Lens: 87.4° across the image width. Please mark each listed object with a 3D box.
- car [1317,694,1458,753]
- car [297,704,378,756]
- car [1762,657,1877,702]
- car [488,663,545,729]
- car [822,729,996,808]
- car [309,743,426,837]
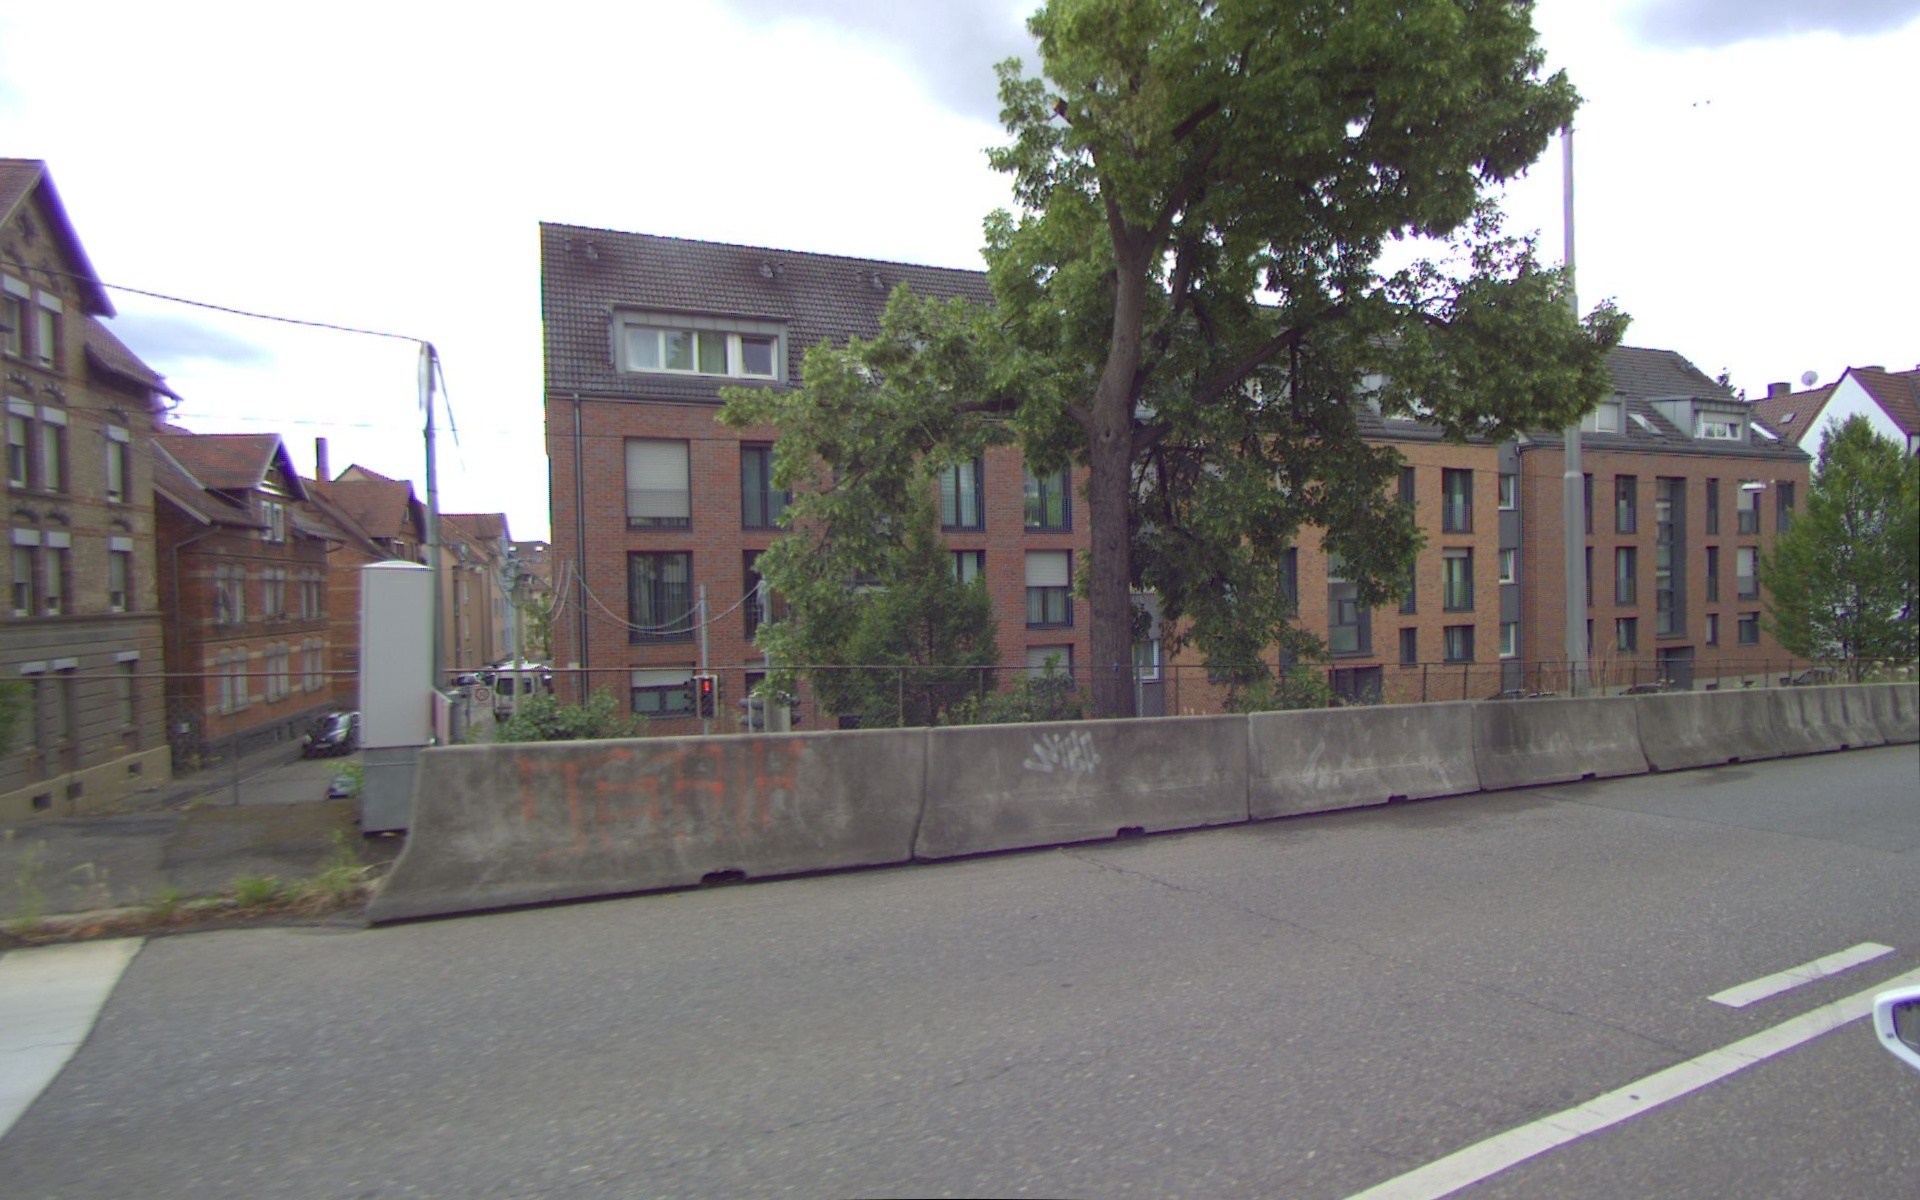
[{"bbox_3d":[13.226,3.779,31.098,3.942,1.530,1.791,1,-2,-22],"label":"car"},{"bbox_3d":[-24.317,5.048,39.402,1.771,1.530,3.985,-1,-1,-18],"label":"car"},{"bbox_3d":[34.492,3.161,40.302,4.154,1.629,1.791,1,-2,-22],"label":"car"},{"bbox_3d":[-21.969,4.688,49.984,2.015,2.732,5.532,-3,0,-19],"label":"car"},{"bbox_3d":[-1.268,4.106,24.880,3.943,1.530,1.790,1,-2,-23],"label":"car"},{"bbox_3d":[-14.714,4.652,25.163,1.773,1.530,3.981,-3,0,-21],"label":"car"}]
